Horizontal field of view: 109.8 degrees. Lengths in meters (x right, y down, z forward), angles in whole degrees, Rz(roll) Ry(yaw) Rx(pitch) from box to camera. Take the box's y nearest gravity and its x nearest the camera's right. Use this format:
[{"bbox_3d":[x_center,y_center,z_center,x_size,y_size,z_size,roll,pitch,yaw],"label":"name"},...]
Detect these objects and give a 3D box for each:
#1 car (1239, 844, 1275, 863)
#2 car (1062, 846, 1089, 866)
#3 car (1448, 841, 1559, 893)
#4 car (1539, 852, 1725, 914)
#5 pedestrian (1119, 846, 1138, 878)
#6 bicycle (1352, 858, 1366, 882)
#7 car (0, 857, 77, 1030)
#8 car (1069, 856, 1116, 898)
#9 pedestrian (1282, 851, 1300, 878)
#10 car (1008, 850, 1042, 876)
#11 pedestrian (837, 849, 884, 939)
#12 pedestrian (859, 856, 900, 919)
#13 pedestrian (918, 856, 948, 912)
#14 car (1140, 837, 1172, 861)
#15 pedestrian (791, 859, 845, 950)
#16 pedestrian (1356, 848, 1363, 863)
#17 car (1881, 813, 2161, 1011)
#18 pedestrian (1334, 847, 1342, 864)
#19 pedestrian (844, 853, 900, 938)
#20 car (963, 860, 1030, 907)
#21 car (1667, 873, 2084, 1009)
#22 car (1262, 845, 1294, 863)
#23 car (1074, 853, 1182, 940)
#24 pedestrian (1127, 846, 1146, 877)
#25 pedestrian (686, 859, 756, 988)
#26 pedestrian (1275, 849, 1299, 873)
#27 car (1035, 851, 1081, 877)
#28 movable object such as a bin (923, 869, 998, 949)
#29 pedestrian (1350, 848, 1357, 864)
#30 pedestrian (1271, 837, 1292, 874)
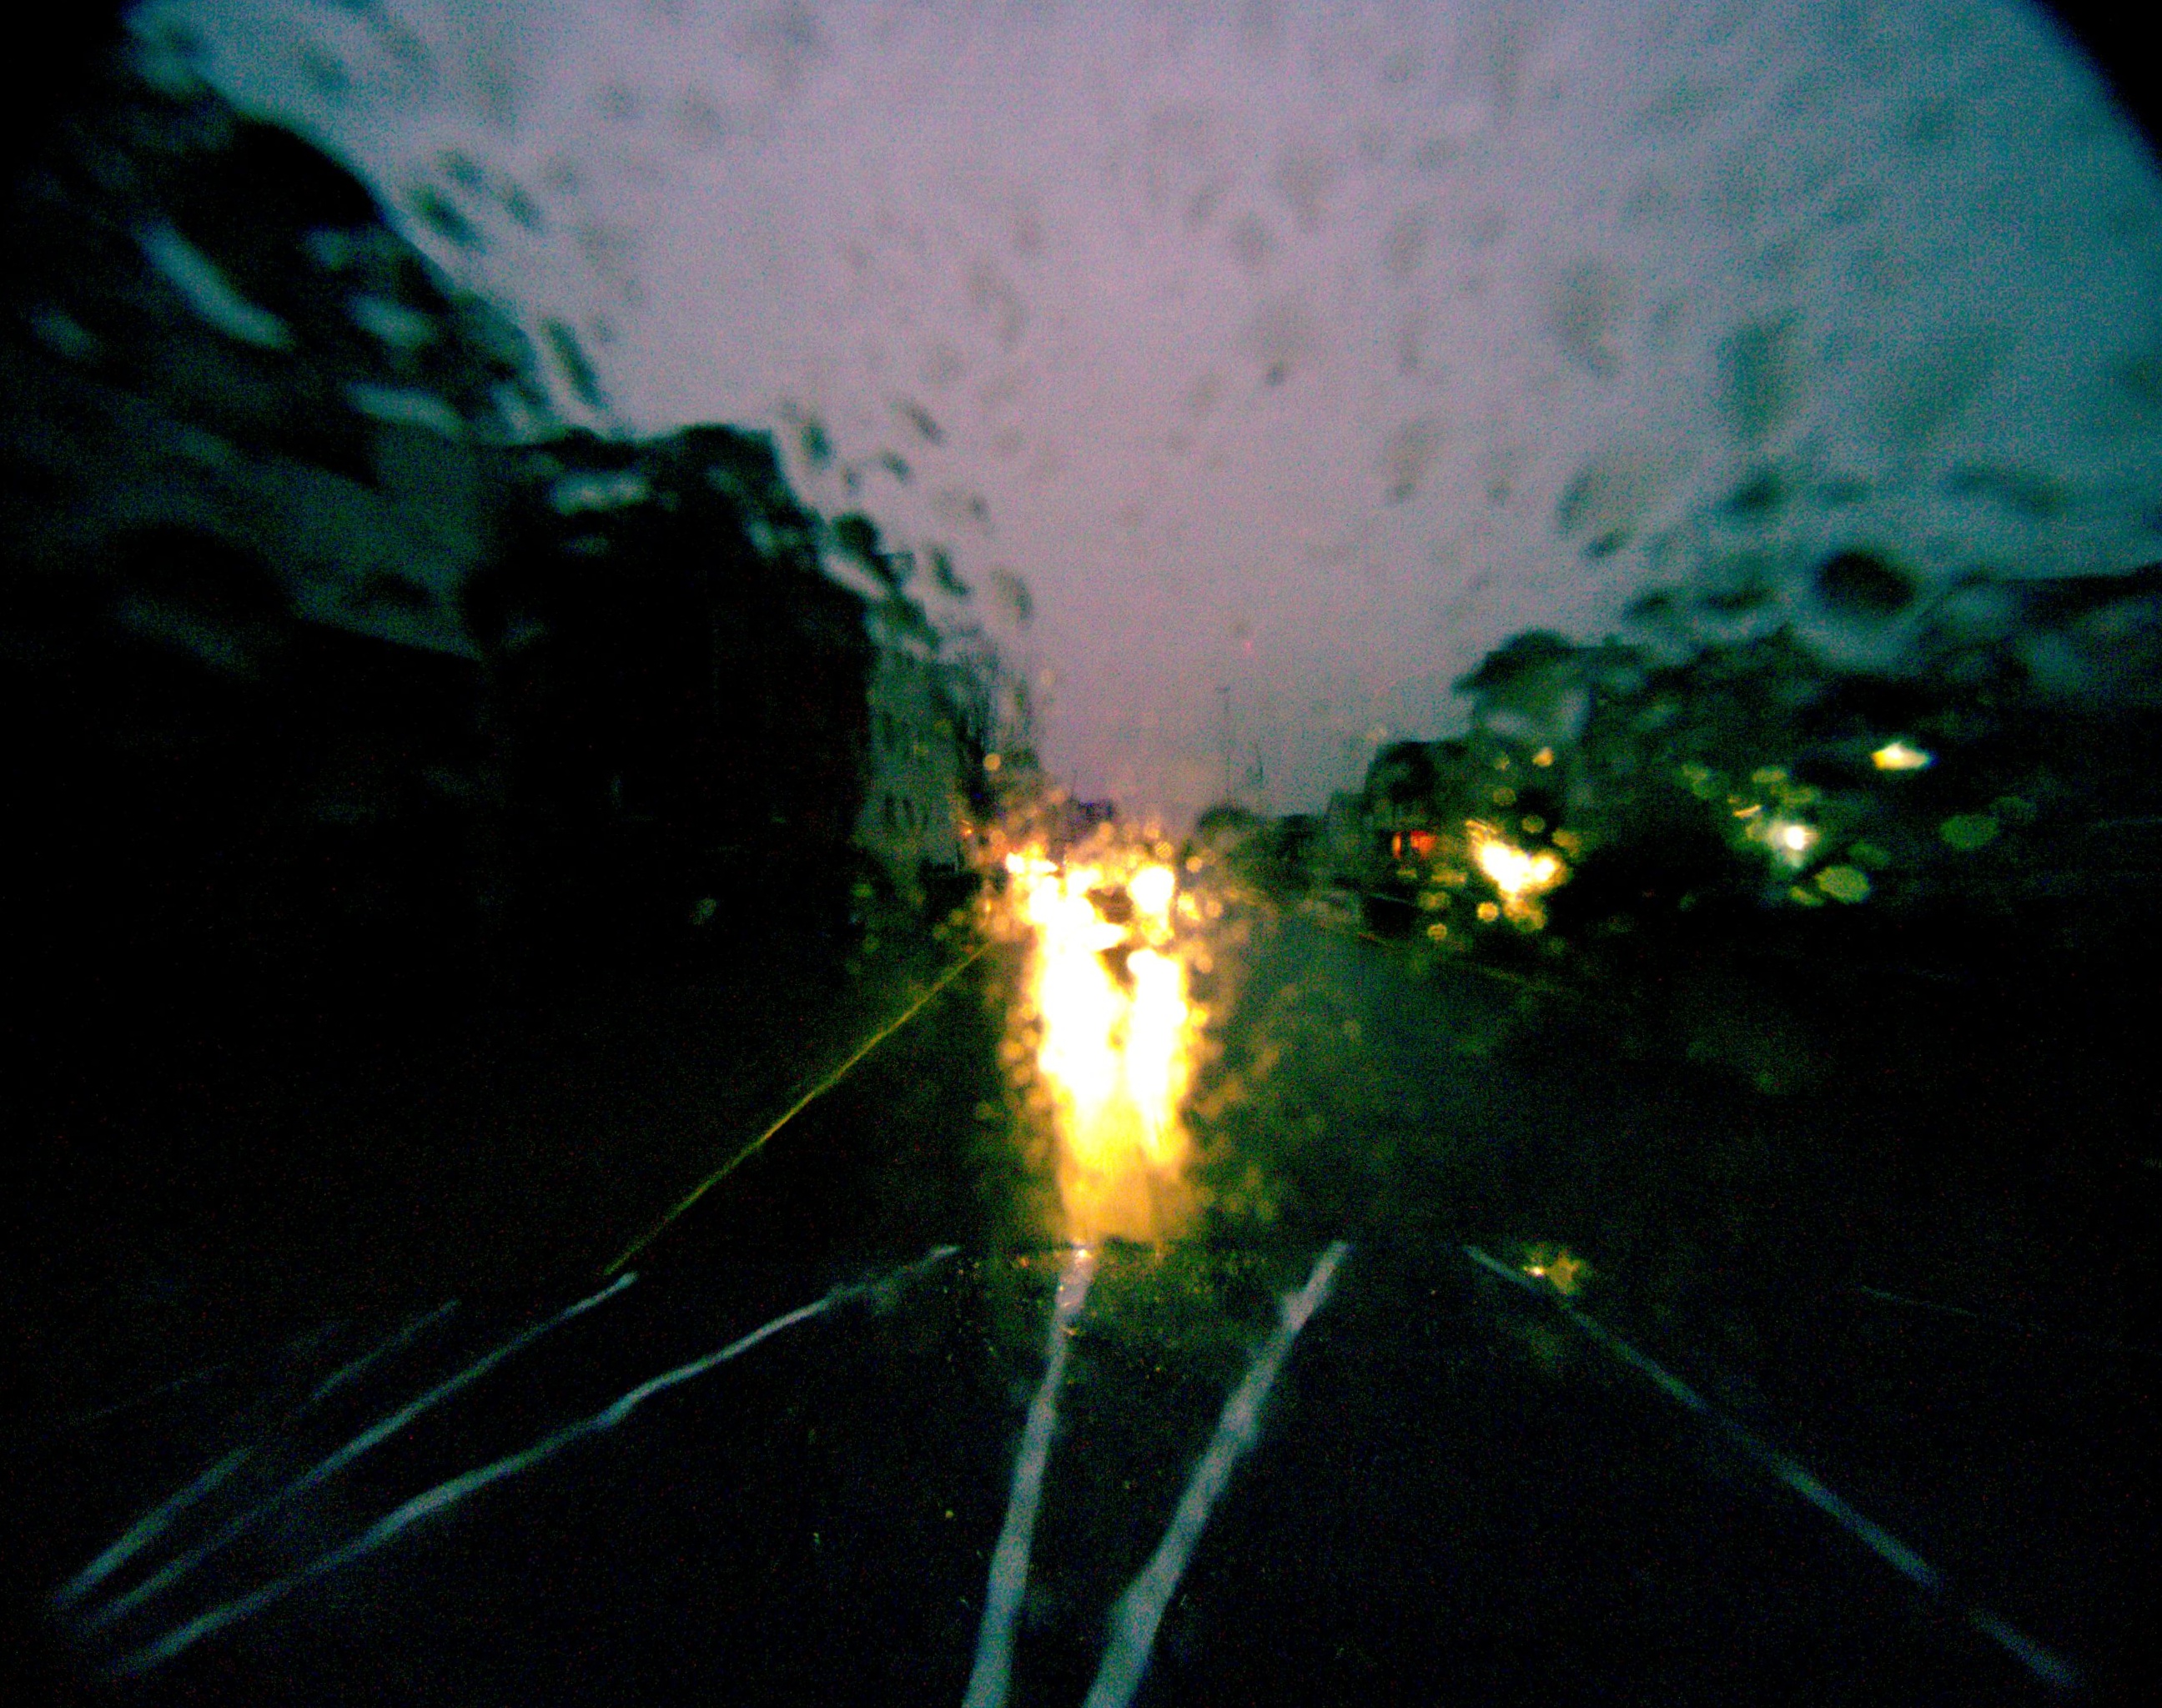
[{"bbox_3d":[20.727,-0.105,89.469,1.974,1.984,3.990,-4,3,-27],"label":"car"},{"bbox_3d":[-0.445,0.130,65.542,2.172,1.469,3.998,-3,3,0],"label":"car"},{"bbox_3d":[14.941,0.429,27.178,1.758,1.691,4.566,1,0,6],"label":"car"},{"bbox_3d":[14.485,0.711,20.374,1.806,1.474,4.572,0,0,2],"label":"car"},{"bbox_3d":[2.835,0.450,45.043,0.789,1.856,0.711,0,4,43],"label":"pedestrian"},{"bbox_3d":[12.072,0.674,33.035,0.470,1.004,1.741,-1,1,16],"label":"bicycle"},{"bbox_3d":[-11.966,0.834,6.946,3.993,1.584,1.891,0,0,13],"label":"car"},{"bbox_3d":[0.549,0.931,32.401,1.762,1.471,4.019,-3,2,3],"label":"car"},{"bbox_3d":[10.012,0.509,36.237,0.687,1.264,0.750,-3,0,4],"label":"pedestrian"},{"bbox_3d":[-4.398,0.658,58.872,1.827,1.736,3.993,-3,3,-15],"label":"car"},{"bbox_3d":[-4.552,0.802,15.713,0.530,1.790,0.865,-2,0,10],"label":"pedestrian"},{"bbox_3d":[-5.478,0.902,20.678,0.748,1.669,1.052,0,0,6],"label":"pedestrian"},{"bbox_3d":[-4.621,0.924,23.732,0.530,1.644,0.954,-2,3,10],"label":"pedestrian"},{"bbox_3d":[7.060,-0.512,71.012,2.055,1.976,4.541,-2,3,17],"label":"car"},{"bbox_3d":[-4.865,0.905,14.093,0.480,1.621,1.020,0,0,13],"label":"pedestrian"},{"bbox_3d":[29.313,0.167,79.974,0.582,1.602,0.500,-2,3,4],"label":"pedestrian"},{"bbox_3d":[9.902,0.391,6.717,3.803,1.514,1.714,-2,1,1],"label":"car"},{"bbox_3d":[25.306,0.165,74.780,0.582,1.602,0.500,-2,3,4],"label":"pedestrian"},{"bbox_3d":[-4.333,0.832,15.802,0.713,1.705,1.035,0,0,13],"label":"pedestrian"},{"bbox_3d":[-2.935,0.988,27.151,1.732,1.456,4.199,1,0,2],"label":"car"},{"bbox_3d":[9.588,1.003,9.372,3.453,1.364,1.601,-2,0,-1],"label":"car"},{"bbox_3d":[23.317,-0.031,90.128,1.926,2.003,3.966,-3,3,-14],"label":"car"},{"bbox_3d":[0.896,0.821,16.804,1.958,1.576,4.108,-2,1,-2],"label":"car"},{"bbox_3d":[3.344,0.441,45.597,0.789,1.752,0.769,0,4,43],"label":"pedestrian"},{"bbox_3d":[-4.764,0.892,10.104,0.620,1.617,0.905,-1,-1,-13],"label":"pedestrian"},{"bbox_3d":[10.288,0.368,37.979,0.990,1.151,0.903,-2,-1,9],"label":"pedestrian"},{"bbox_3d":[-1.656,0.636,52.505,2.030,1.471,4.550,-3,3,-16],"label":"car"},{"bbox_3d":[-2.267,1.014,14.503,1.131,1.412,1.417,2,0,2],"label":"movable object such as a bin"},{"bbox_3d":[28.556,0.227,79.588,0.582,1.602,0.500,-2,3,4],"label":"pedestrian"},{"bbox_3d":[9.783,0.076,37.045,0.750,1.732,0.687,-3,0,0],"label":"pedestrian"}]
